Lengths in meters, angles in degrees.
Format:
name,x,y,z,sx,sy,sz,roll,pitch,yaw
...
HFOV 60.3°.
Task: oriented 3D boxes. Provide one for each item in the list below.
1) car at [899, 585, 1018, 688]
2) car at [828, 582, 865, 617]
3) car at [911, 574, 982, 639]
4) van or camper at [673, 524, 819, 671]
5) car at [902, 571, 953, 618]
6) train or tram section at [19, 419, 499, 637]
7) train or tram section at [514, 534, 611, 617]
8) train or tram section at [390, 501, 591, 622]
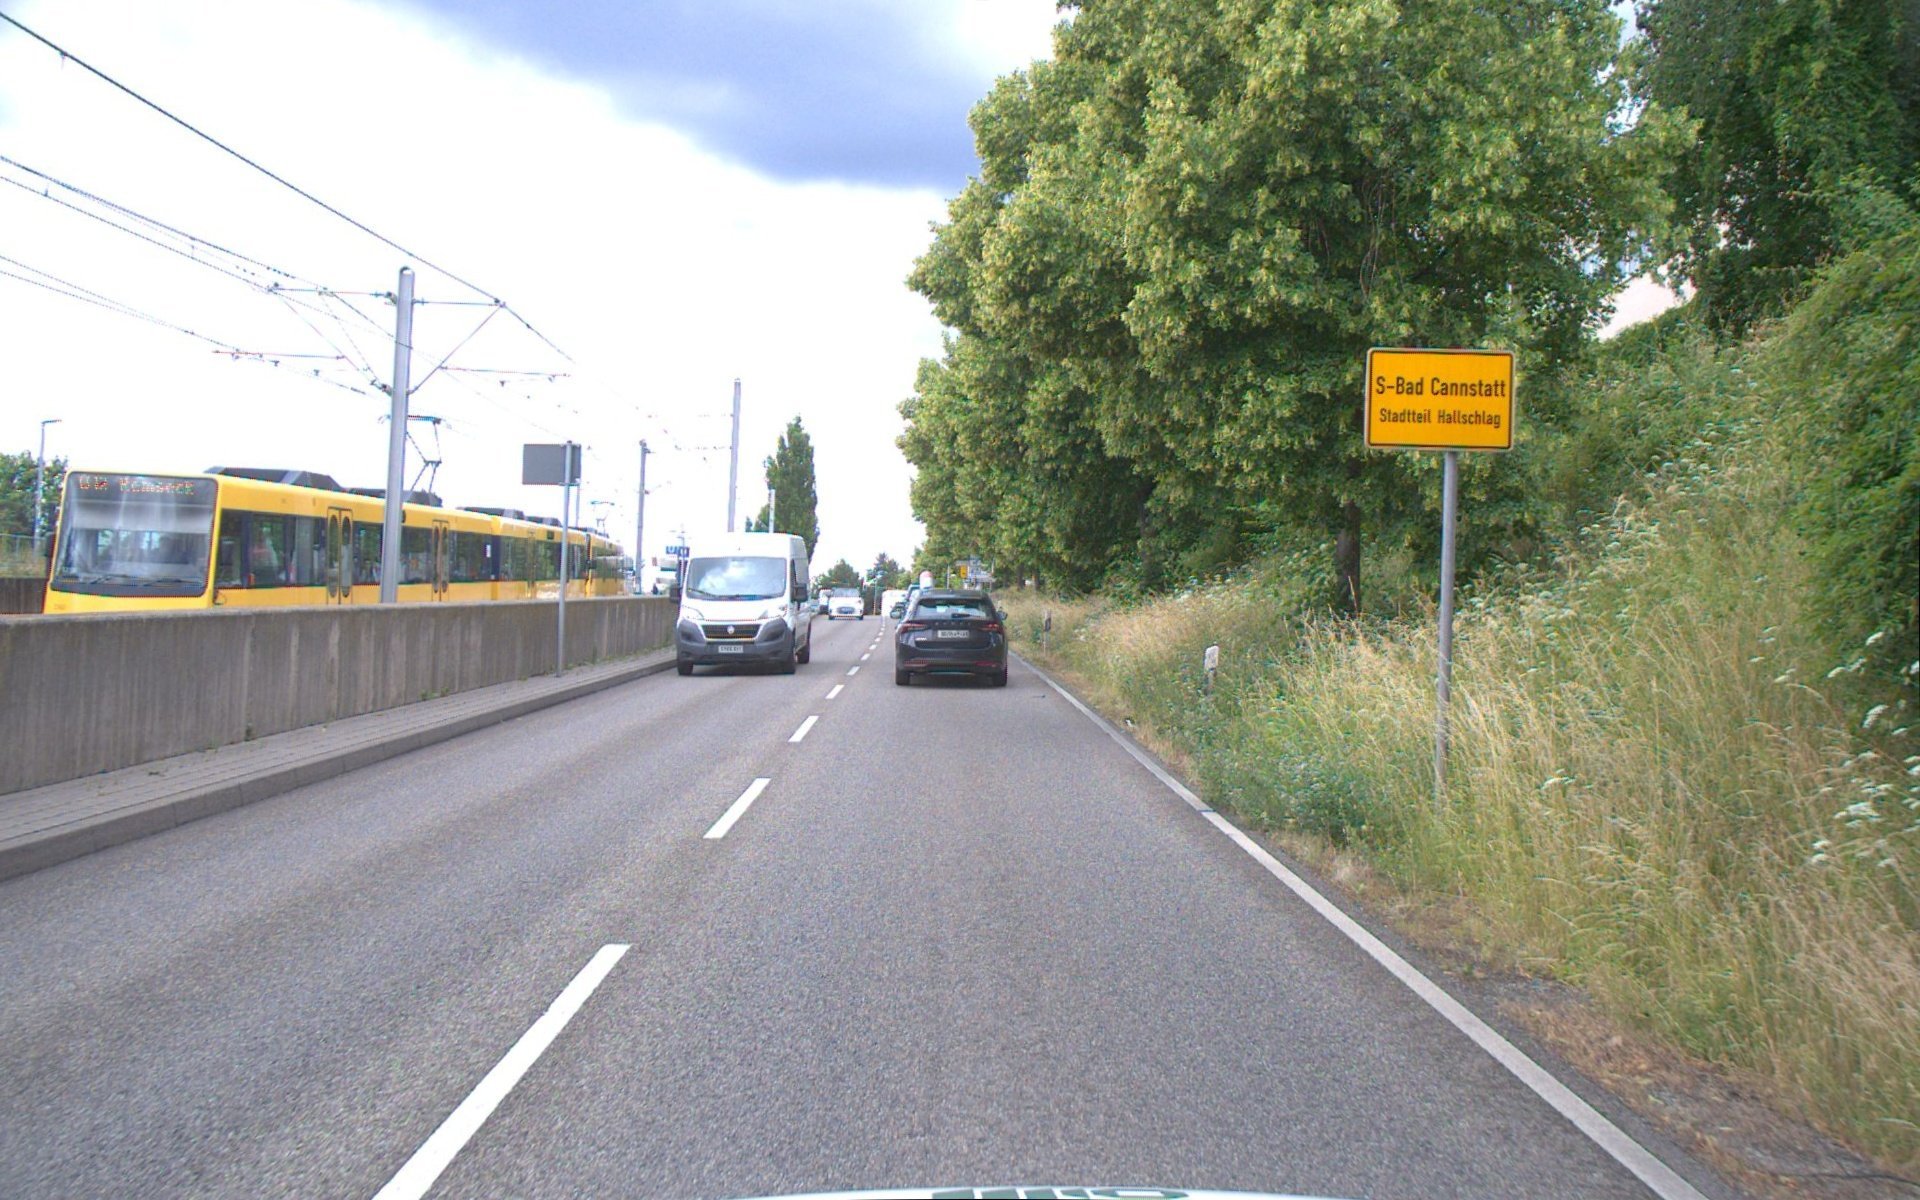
name,x,y,z,sx,sy,sz,roll,pitch,yaw
car,-0.060,0.521,26.364,1.745,1.493,3.999,0,0,-1
car,-5.424,-0.058,78.777,1.697,1.599,3.996,0,1,-5
car,-0.416,0.161,47.847,1.953,1.783,3.999,0,0,-1
van or camper,-3.837,-0.073,30.714,2.040,2.438,6.135,1,0,-2
car,-1.283,-0.214,65.097,1.953,1.771,3.999,0,0,-1
train or tram section,-12.948,-1.021,33.820,2.755,3.171,18.902,0,0,-3
train or tram section,-16.829,-0.873,71.265,2.750,3.078,19.262,1,0,-10
train or tram section,-14.319,-0.962,52.472,2.750,3.130,19.078,0,0,-6
